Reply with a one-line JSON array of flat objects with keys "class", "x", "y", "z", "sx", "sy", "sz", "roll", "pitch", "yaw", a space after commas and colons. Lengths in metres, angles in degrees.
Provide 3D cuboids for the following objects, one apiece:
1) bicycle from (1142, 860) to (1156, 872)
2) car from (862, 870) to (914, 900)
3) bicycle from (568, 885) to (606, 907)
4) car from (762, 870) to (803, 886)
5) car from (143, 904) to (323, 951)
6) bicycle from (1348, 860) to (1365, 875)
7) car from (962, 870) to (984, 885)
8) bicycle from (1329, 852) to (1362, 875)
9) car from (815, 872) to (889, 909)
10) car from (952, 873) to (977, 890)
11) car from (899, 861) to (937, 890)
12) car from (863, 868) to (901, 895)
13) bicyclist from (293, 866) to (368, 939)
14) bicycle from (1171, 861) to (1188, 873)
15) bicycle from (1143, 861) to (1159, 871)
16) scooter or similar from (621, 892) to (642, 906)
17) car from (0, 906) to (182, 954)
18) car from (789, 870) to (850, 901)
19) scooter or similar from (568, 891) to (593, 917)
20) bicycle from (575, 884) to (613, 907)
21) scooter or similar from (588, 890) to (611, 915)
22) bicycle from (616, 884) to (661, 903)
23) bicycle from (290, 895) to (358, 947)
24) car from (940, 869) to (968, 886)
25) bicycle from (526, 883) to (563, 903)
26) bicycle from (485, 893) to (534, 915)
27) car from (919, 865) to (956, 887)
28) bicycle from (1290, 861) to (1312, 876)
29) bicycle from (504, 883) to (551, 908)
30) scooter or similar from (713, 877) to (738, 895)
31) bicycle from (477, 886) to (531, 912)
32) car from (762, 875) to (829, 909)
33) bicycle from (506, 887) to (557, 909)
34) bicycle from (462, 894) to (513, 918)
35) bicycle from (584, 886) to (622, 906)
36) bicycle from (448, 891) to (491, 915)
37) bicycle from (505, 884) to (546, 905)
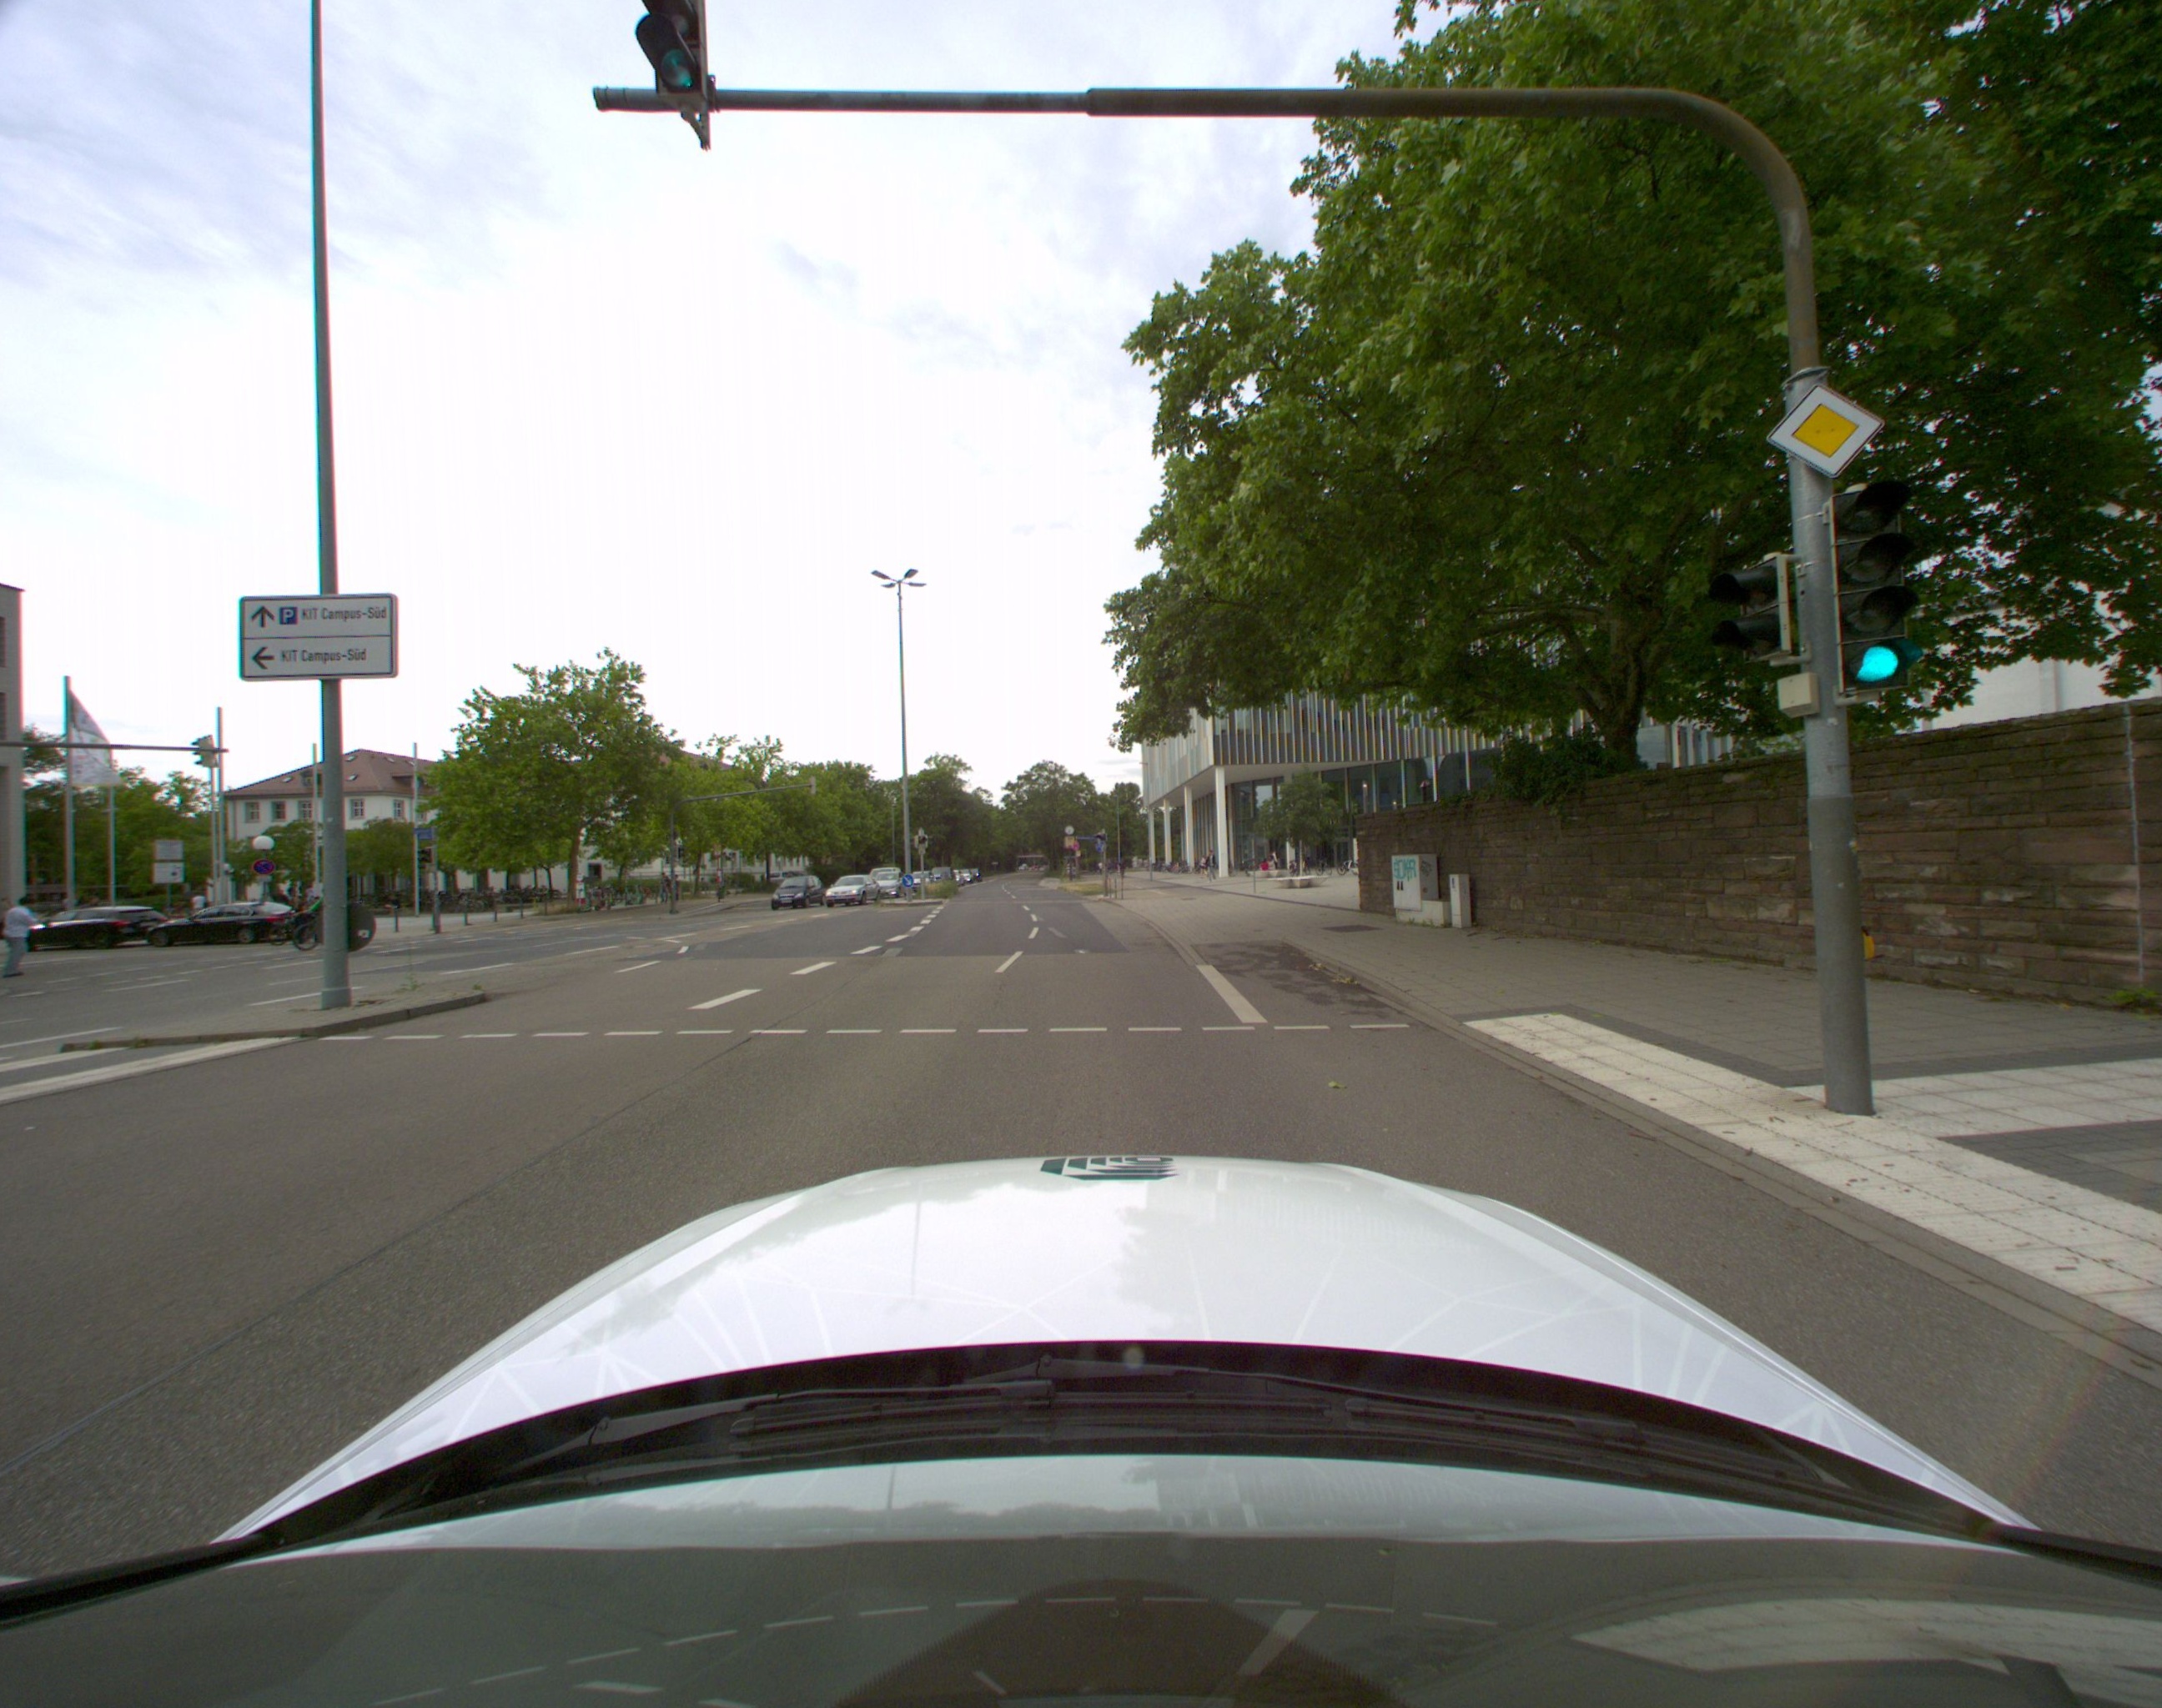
[{"class": "bicycle", "x": 8.625, "y": 1.554, "z": 103.920, "sx": 1.637, "sy": 1.333, "sz": 0.464, "roll": -5, "pitch": -1, "yaw": 10}, {"class": "car", "x": -11.357, "y": 1.773, "z": 48.166, "sx": 1.950, "sy": 1.584, "sz": 4.256, "roll": -1, "pitch": 0, "yaw": 1}, {"class": "bicycle", "x": -38.012, "y": 3.229, "z": 62.709, "sx": 2.396, "sy": 1.594, "sz": 0.720, "roll": -2, "pitch": -1, "yaw": -6}, {"class": "car", "x": -30.279, "y": 2.423, "z": 82.658, "sx": 3.579, "sy": 1.602, "sz": 1.649, "roll": 0, "pitch": -1, "yaw": -5}, {"class": "car", "x": -30.430, "y": 2.611, "z": 29.349, "sx": 4.136, "sy": 1.472, "sz": 1.996, "roll": 0, "pitch": -1, "yaw": -6}, {"class": "bicycle", "x": 16.977, "y": 0.835, "z": 50.199, "sx": 0.389, "sy": 0.899, "sz": 1.482, "roll": -3, "pitch": -1, "yaw": 44}, {"class": "car", "x": -12.349, "y": 2.682, "z": 93.355, "sx": 1.898, "sy": 1.593, "sz": 4.512, "roll": -3, "pitch": -1, "yaw": -2}, {"class": "bicycle", "x": 16.612, "y": 0.611, "z": 51.180, "sx": 2.011, "sy": 1.306, "sz": 0.640, "roll": -4, "pitch": 1, "yaw": -24}, {"class": "car", "x": -10.827, "y": 1.693, "z": 38.836, "sx": 1.984, "sy": 1.529, "sz": 4.279, "roll": -3, "pitch": -1, "yaw": 4}, {"class": "car", "x": -11.884, "y": 2.798, "z": 83.087, "sx": 1.988, "sy": 1.547, "sz": 4.176, "roll": -4, "pitch": -1, "yaw": -2}, {"class": "car", "x": -11.893, "y": 1.547, "z": 59.623, "sx": 1.988, "sy": 2.014, "sz": 3.996, "roll": -3, "pitch": -1, "yaw": -2}, {"class": "car", "x": -14.468, "y": 1.965, "z": 59.357, "sx": 1.766, "sy": 1.848, "sz": 4.486, "roll": 0, "pitch": -1, "yaw": -1}, {"class": "bicyclist", "x": -21.551, "y": 1.357, "z": 23.436, "sx": 1.185, "sy": 2.014, "sz": 1.272, "roll": 0, "pitch": -1, "yaw": -22}, {"class": "bicycle", "x": 9.789, "y": 1.303, "z": 80.778, "sx": 1.636, "sy": 1.091, "sz": 0.573, "roll": -5, "pitch": -1, "yaw": 6}, {"class": "bicycle", "x": 8.751, "y": 1.510, "z": 102.149, "sx": 1.791, "sy": 1.082, "sz": 0.625, "roll": -5, "pitch": -1, "yaw": -4}, {"class": "scooter or similar", "x": -25.468, "y": 2.545, "z": 46.162, "sx": 0.405, "sy": 0.694, "sz": 1.289, "roll": 0, "pitch": -1, "yaw": 1}, {"class": "car", "x": -35.210, "y": 2.682, "z": 28.948, "sx": 3.981, "sy": 1.472, "sz": 1.996, "roll": 0, "pitch": -1, "yaw": -6}, {"class": "car", "x": -15.258, "y": 1.783, "z": 47.773, "sx": 1.984, "sy": 1.620, "sz": 4.005, "roll": -3, "pitch": -1, "yaw": 4}, {"class": "scooter or similar", "x": -23.882, "y": 2.374, "z": 38.849, "sx": 0.359, "sy": 1.140, "sz": 1.318, "roll": -3, "pitch": -1, "yaw": -2}, {"class": "bicycle", "x": -38.198, "y": 3.245, "z": 63.864, "sx": 2.396, "sy": 1.594, "sz": 0.720, "roll": -2, "pitch": -1, "yaw": -6}, {"class": "scooter or similar", "x": -23.905, "y": 2.394, "z": 40.469, "sx": 0.359, "sy": 1.140, "sz": 1.318, "roll": -3, "pitch": -1, "yaw": -2}, {"class": "bicycle", "x": -31.680, "y": 2.824, "z": 58.365, "sx": 2.743, "sy": 1.174, "sz": 0.720, "roll": -2, "pitch": -1, "yaw": -6}, {"class": "bicycle", "x": -21.777, "y": 1.888, "z": 23.473, "sx": 0.607, "sy": 1.333, "sz": 2.295, "roll": 0, "pitch": -1, "yaw": -21}, {"class": "car", "x": -11.477, "y": 2.124, "z": 73.704, "sx": 1.899, "sy": 1.465, "sz": 4.906, "roll": 0, "pitch": -1, "yaw": -2}, {"class": "bicycle", "x": -44.283, "y": 3.215, "z": 67.219, "sx": 2.638, "sy": 1.559, "sz": 0.926, "roll": -3, "pitch": -1, "yaw": 15}, {"class": "bicycle", "x": -37.048, "y": 3.262, "z": 52.796, "sx": 2.532, "sy": 1.269, "sz": 0.720, "roll": -2, "pitch": -1, "yaw": -6}, {"class": "car", "x": -11.767, "y": 1.802, "z": 67.092, "sx": 1.986, "sy": 1.687, "sz": 4.948, "roll": -1, "pitch": -1, "yaw": 1}, {"class": "bicycle", "x": 14.577, "y": 0.955, "z": 53.979, "sx": 0.663, "sy": 0.899, "sz": 1.857, "roll": -3, "pitch": -1, "yaw": 39}, {"class": "bicycle", "x": -38.325, "y": 2.880, "z": 56.424, "sx": 2.447, "sy": 1.559, "sz": 0.918, "roll": -2, "pitch": -1, "yaw": -13}, {"class": "scooter or similar", "x": -26.706, "y": 2.389, "z": 61.229, "sx": 1.570, "sy": 1.244, "sz": 0.566, "roll": -2, "pitch": -1, "yaw": -3}, {"class": "bicycle", "x": -38.034, "y": 2.959, "z": 53.717, "sx": 2.661, "sy": 1.559, "sz": 0.918, "roll": -2, "pitch": -1, "yaw": -13}, {"class": "car", "x": -14.001, "y": 1.832, "z": 40.157, "sx": 1.845, "sy": 1.463, "sz": 3.699, "roll": -3, "pitch": -1, "yaw": 2}, {"class": "bicycle", "x": -37.438, "y": 2.985, "z": 55.471, "sx": 2.814, "sy": 1.329, "sz": 0.720, "roll": -2, "pitch": -1, "yaw": -7}, {"class": "bicycle", "x": -37.082, "y": 3.240, "z": 50.907, "sx": 2.481, "sy": 1.354, "sz": 0.720, "roll": -2, "pitch": -1, "yaw": -6}, {"class": "bicycle", "x": -31.206, "y": 2.723, "z": 53.195, "sx": 2.036, "sy": 1.153, "sz": 0.717, "roll": -2, "pitch": -1, "yaw": -20}, {"class": "bicycle", "x": -43.542, "y": 3.496, "z": 57.989, "sx": 2.638, "sy": 1.559, "sz": 0.926, "roll": -3, "pitch": -1, "yaw": 15}, {"class": "bicycle", "x": -44.563, "y": 3.246, "z": 65.363, "sx": 3.056, "sy": 1.559, "sz": 0.926, "roll": -3, "pitch": -1, "yaw": 15}]
